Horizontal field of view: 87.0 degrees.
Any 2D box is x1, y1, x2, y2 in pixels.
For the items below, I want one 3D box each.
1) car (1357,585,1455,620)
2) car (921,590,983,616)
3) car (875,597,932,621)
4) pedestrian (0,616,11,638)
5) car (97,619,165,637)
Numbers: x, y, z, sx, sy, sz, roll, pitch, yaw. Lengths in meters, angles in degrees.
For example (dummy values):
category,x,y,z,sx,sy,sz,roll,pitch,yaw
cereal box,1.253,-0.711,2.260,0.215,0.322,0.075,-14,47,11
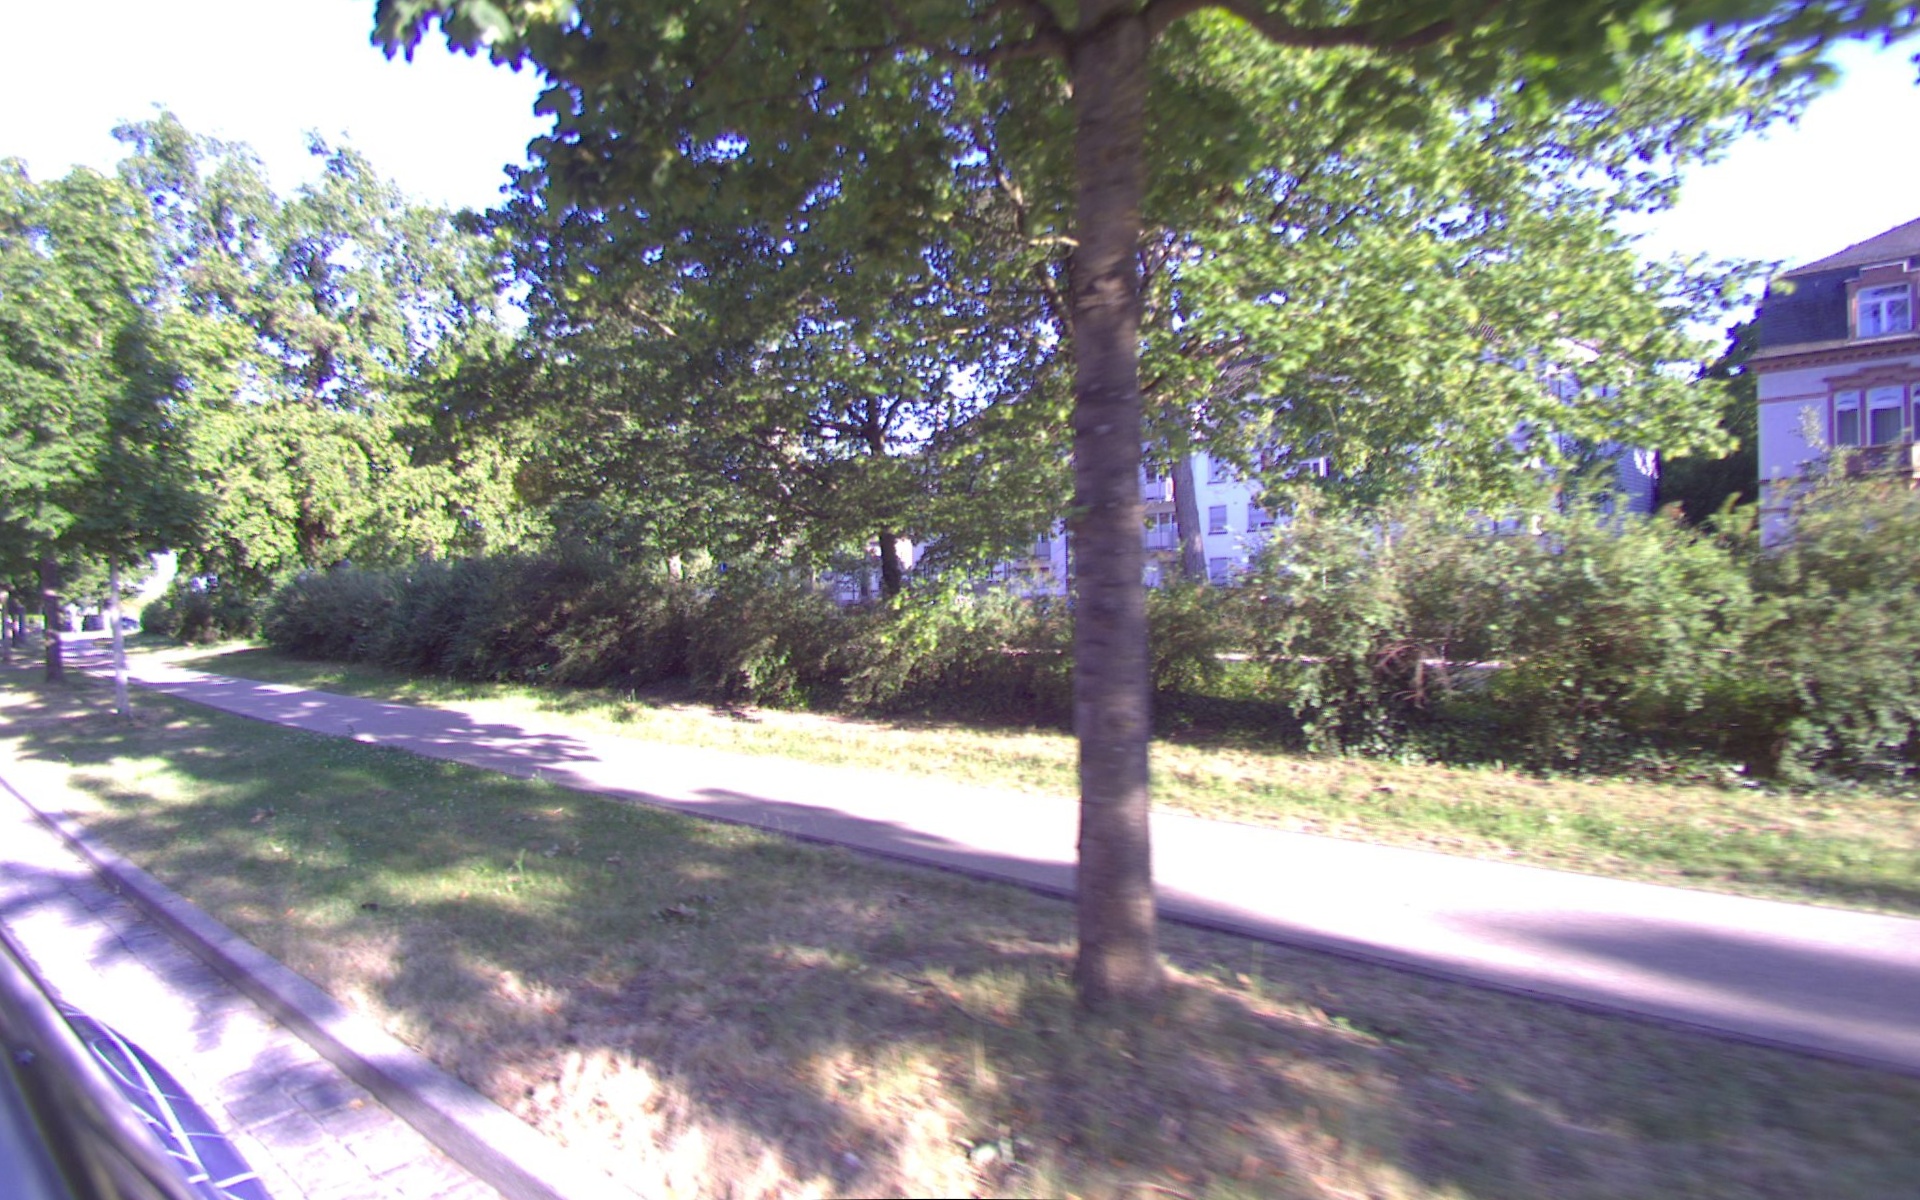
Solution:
category,x,y,z,sx,sy,sz,roll,pitch,yaw
car,18.673,0.121,42.458,1.615,1.327,3.379,-3,1,-43
car,-0.578,0.230,66.689,1.906,1.593,4.226,-2,1,-37
car,-4.006,0.656,71.005,1.906,1.593,4.226,-2,1,-37
pedestrian,-82.615,2.296,87.556,0.724,1.854,0.606,-4,-2,34
car,-80.858,2.692,98.770,1.862,1.570,4.785,-2,0,32
